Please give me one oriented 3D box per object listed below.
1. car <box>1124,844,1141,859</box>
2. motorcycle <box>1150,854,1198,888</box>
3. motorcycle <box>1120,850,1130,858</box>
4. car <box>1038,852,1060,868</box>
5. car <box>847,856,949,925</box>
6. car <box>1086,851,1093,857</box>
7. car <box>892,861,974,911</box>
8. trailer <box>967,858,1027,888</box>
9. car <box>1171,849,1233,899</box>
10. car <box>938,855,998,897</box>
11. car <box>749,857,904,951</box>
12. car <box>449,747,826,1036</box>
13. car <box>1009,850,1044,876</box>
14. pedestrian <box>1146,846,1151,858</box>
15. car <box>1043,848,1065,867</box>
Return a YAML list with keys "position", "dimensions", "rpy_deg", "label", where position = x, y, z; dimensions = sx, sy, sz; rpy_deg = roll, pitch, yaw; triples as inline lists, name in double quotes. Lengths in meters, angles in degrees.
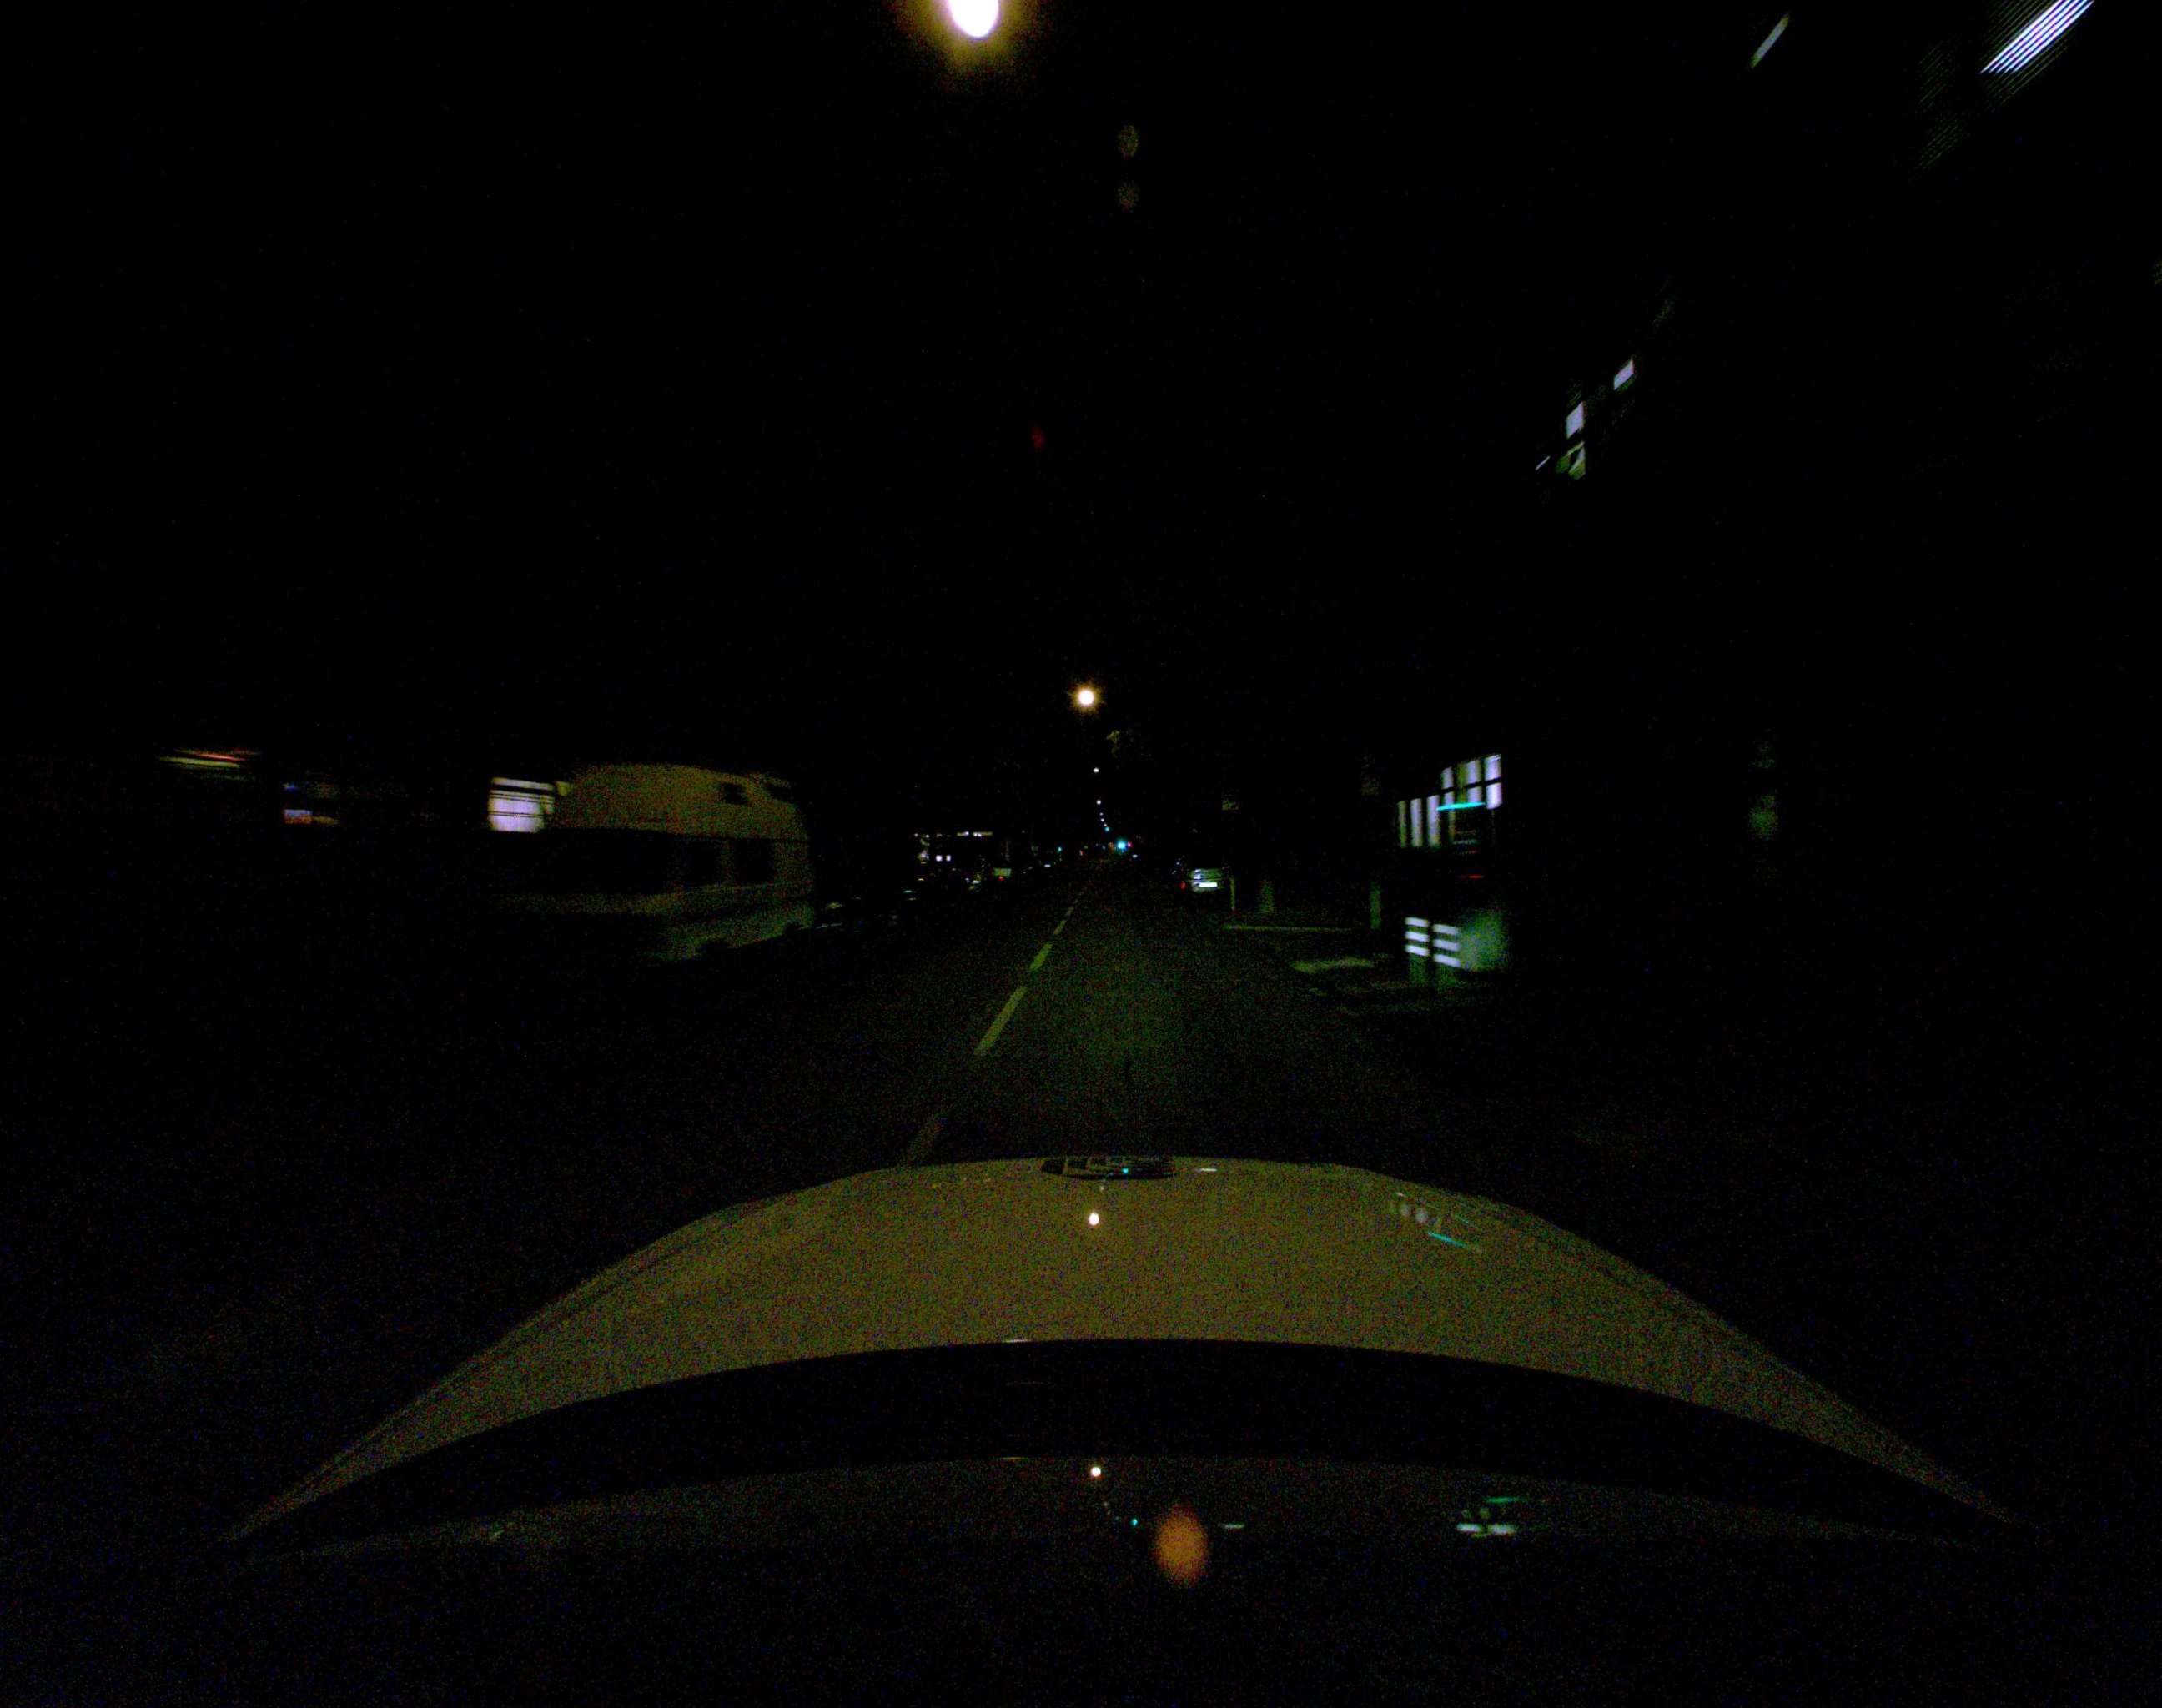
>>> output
- position: [6.182, -0.295, 97.310]
  dimensions: [1.846, 1.653, 4.212]
  rpy_deg: [-4, 0, 2]
  label: "car"
- position: [3.761, 0.690, 33.122]
  dimensions: [0.930, 1.283, 2.217]
  rpy_deg: [-2, 0, -23]
  label: "motorcycle"
- position: [7.451, -0.042, 138.676]
  dimensions: [0.630, 1.270, 2.077]
  rpy_deg: [-1, 0, 37]
  label: "motorcycle"
- position: [-2.983, 0.558, 76.571]
  dimensions: [1.693, 1.433, 3.831]
  rpy_deg: [1, 1, 3]
  label: "car"
- position: [-4.754, 0.883, 21.707]
  dimensions: [1.736, 1.606, 4.297]
  rpy_deg: [0, 0, 0]
  label: "car"
- position: [2.137, 0.091, 205.570]
  dimensions: [1.734, 1.416, 3.754]
  rpy_deg: [-1, 0, 2]
  label: "car"
- position: [-4.731, 0.981, 26.627]
  dimensions: [1.698, 1.411, 4.635]
  rpy_deg: [-1, 0, 1]
  label: "car"
- position: [-4.039, 0.874, 40.236]
  dimensions: [2.102, 1.335, 5.439]
  rpy_deg: [1, 0, 3]
  label: "trailer"
- position: [3.914, 0.590, 26.904]
  dimensions: [1.661, 1.429, 4.152]
  rpy_deg: [-4, 0, 4]
  label: "car"
- position: [-4.400, 0.833, 32.275]
  dimensions: [1.710, 1.502, 4.206]
  rpy_deg: [1, 0, 1]
  label: "car"
- position: [-4.976, 0.904, 16.543]
  dimensions: [1.735, 1.606, 4.117]
  rpy_deg: [-1, 0, 1]
  label: "car"
- position: [-5.251, 0.364, 10.687]
  dimensions: [2.171, 2.909, 4.911]
  rpy_deg: [0, 0, 1]
  label: "car"
- position: [-3.611, 0.594, 54.956]
  dimensions: [1.815, 1.598, 4.076]
  rpy_deg: [1, 1, 3]
  label: "car"
- position: [9.741, -0.320, 117.631]
  dimensions: [0.702, 1.721, 0.822]
  rpy_deg: [-3, 0, 2]
  label: "pedestrian"
- position: [-2.737, 0.345, 83.185]
  dimensions: [1.815, 1.811, 4.214]
  rpy_deg: [1, 1, 3]
  label: "car"
